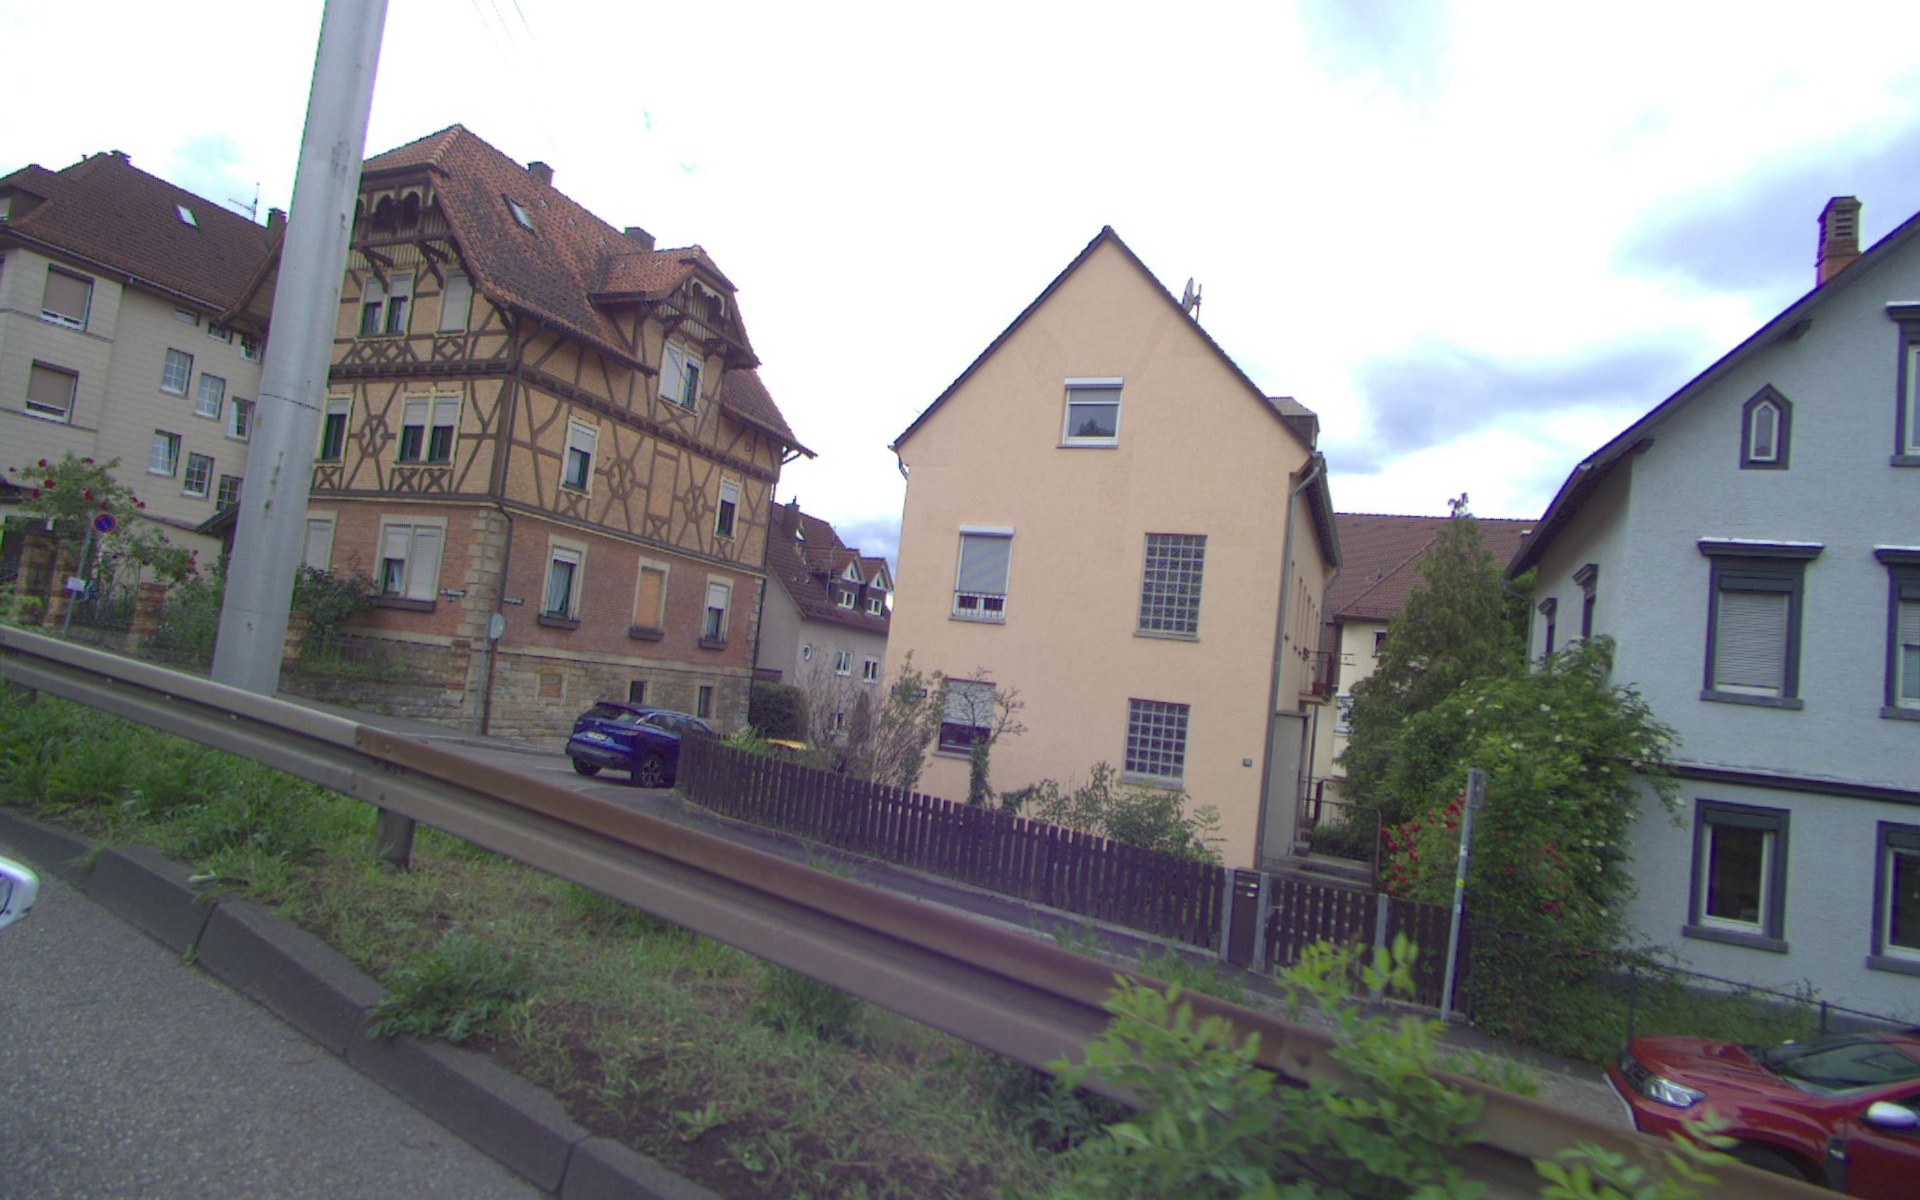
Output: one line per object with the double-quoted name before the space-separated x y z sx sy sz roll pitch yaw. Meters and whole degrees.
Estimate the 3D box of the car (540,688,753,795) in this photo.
"car" -6.452 3.054 21.211 1.964 1.586 4.016 8 -9 24

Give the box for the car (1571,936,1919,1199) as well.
"car" 7.237 4.073 7.572 4.127 1.687 1.791 8 -4 24

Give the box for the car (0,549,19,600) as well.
"car" -29.564 -1.082 28.627 1.672 1.448 3.626 9 -5 10

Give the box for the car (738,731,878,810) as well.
"car" -3.925 4.582 26.720 1.646 1.471 4.019 8 -10 23
